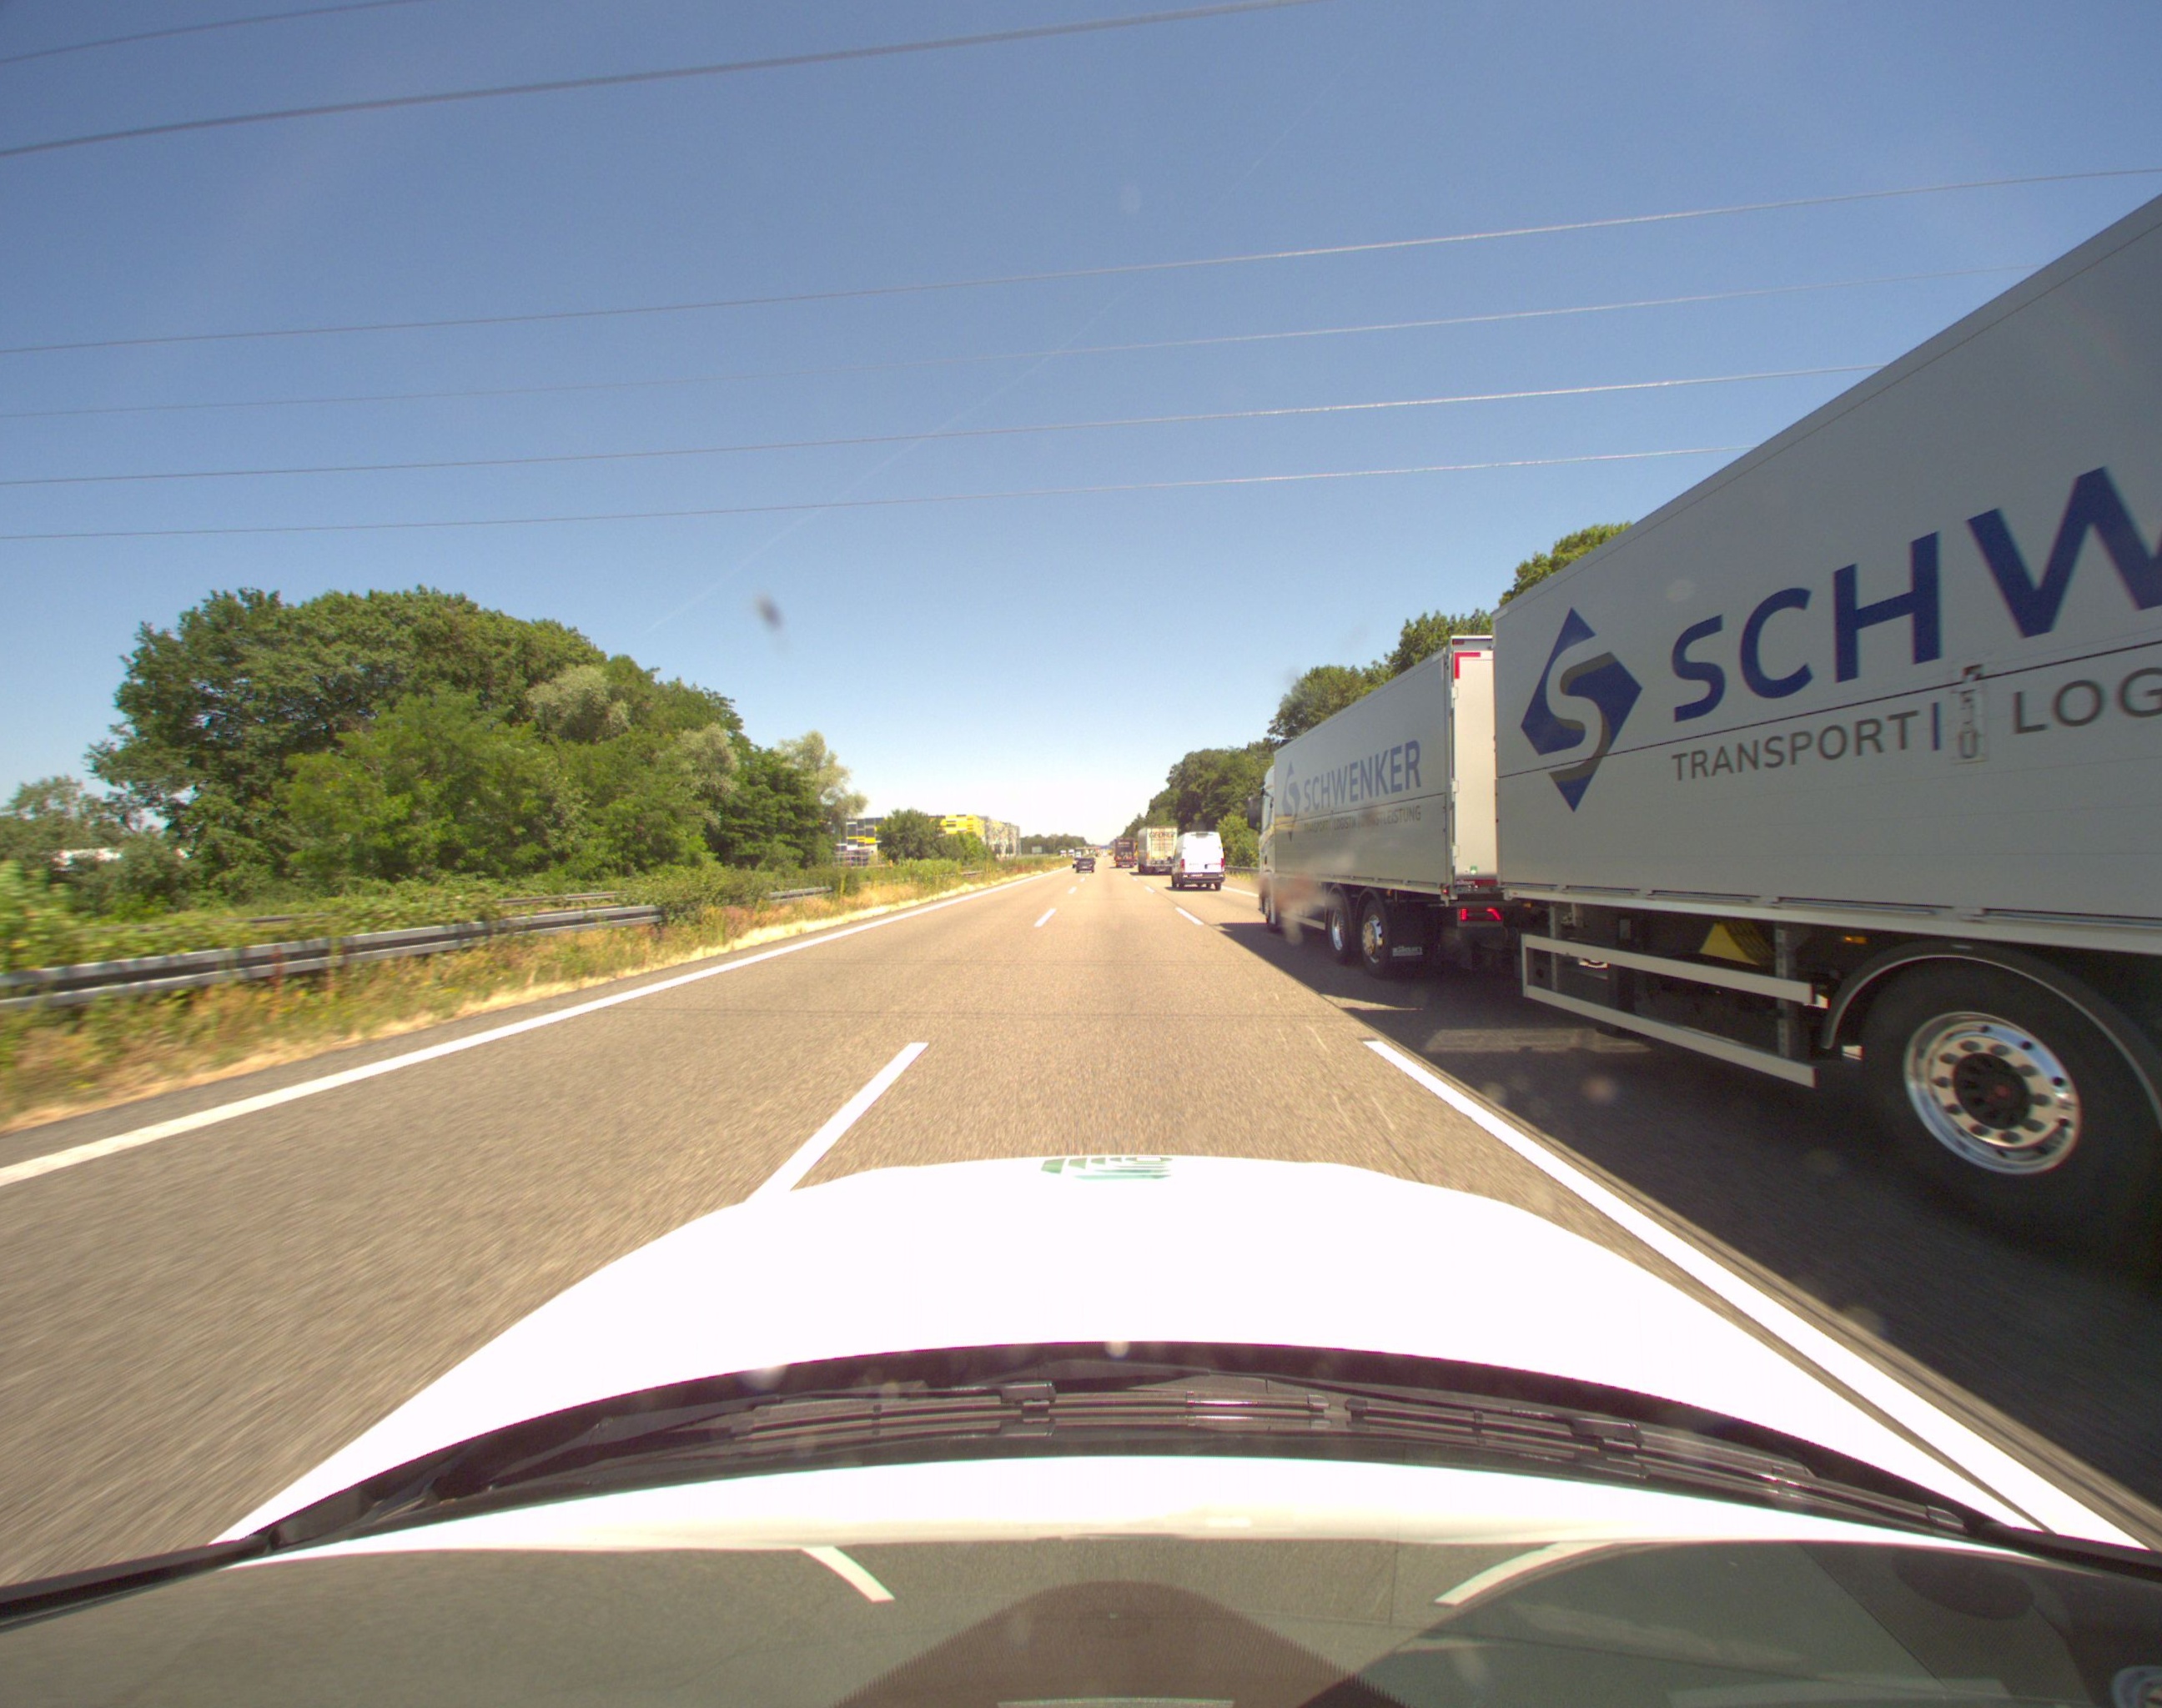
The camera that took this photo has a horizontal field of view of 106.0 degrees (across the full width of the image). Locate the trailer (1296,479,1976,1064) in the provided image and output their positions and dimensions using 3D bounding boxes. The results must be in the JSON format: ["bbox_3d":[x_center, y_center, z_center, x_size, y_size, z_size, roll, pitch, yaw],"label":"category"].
[{"bbox_3d":[4.797,-0.555,9.309,2.909,4.041,7.319,0,0,1],"label":"trailer"}]

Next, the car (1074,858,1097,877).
[{"bbox_3d":[0.495,1.329,83.711,2.208,1.790,5.395,-2,0,1],"label":"car"}]

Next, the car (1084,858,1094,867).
[{"bbox_3d":[1.657,1.648,161.662,1.934,1.706,4.001,-1,0,1],"label":"car"}]

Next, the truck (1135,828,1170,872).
[{"bbox_3d":[6.961,-0.390,79.988,2.992,4.125,5.254,-1,-1,1],"label":"truck"}]

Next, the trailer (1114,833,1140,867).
[{"bbox_3d":[6.486,-0.528,116.986,3.095,4.507,14.898,-1,0,1],"label":"trailer"}]

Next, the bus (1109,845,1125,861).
[{"bbox_3d":[8.114,-0.273,183.890,3.052,3.326,8.273,-2,0,0],"label":"bus"}]

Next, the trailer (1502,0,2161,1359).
[{"bbox_3d":[4.620,-0.559,2.173,2.934,4.063,8.130,0,0,1],"label":"trailer"}]

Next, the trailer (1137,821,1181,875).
[{"bbox_3d":[6.747,-0.460,72.231,2.982,4.289,13.422,0,0,2],"label":"trailer"}]

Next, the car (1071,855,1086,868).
[{"bbox_3d":[-0.352,1.084,115.018,1.987,1.728,4.131,-1,0,1],"label":"car"}]

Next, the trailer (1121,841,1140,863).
[{"bbox_3d":[8.957,-0.365,148.339,2.824,3.953,11.687,-1,0,1],"label":"trailer"}]

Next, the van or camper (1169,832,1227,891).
[{"bbox_3d":[5.536,0.336,39.470,2.015,2.637,6.488,0,0,1],"label":"van or camper"}]

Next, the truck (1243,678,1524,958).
[{"bbox_3d":[5.043,-0.494,15.206,2.878,4.030,6.872,0,0,2],"label":"truck"}]

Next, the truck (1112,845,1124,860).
[{"bbox_3d":[11.184,-0.464,247.455,3.409,4.126,9.570,-2,0,2],"label":"truck"}]
